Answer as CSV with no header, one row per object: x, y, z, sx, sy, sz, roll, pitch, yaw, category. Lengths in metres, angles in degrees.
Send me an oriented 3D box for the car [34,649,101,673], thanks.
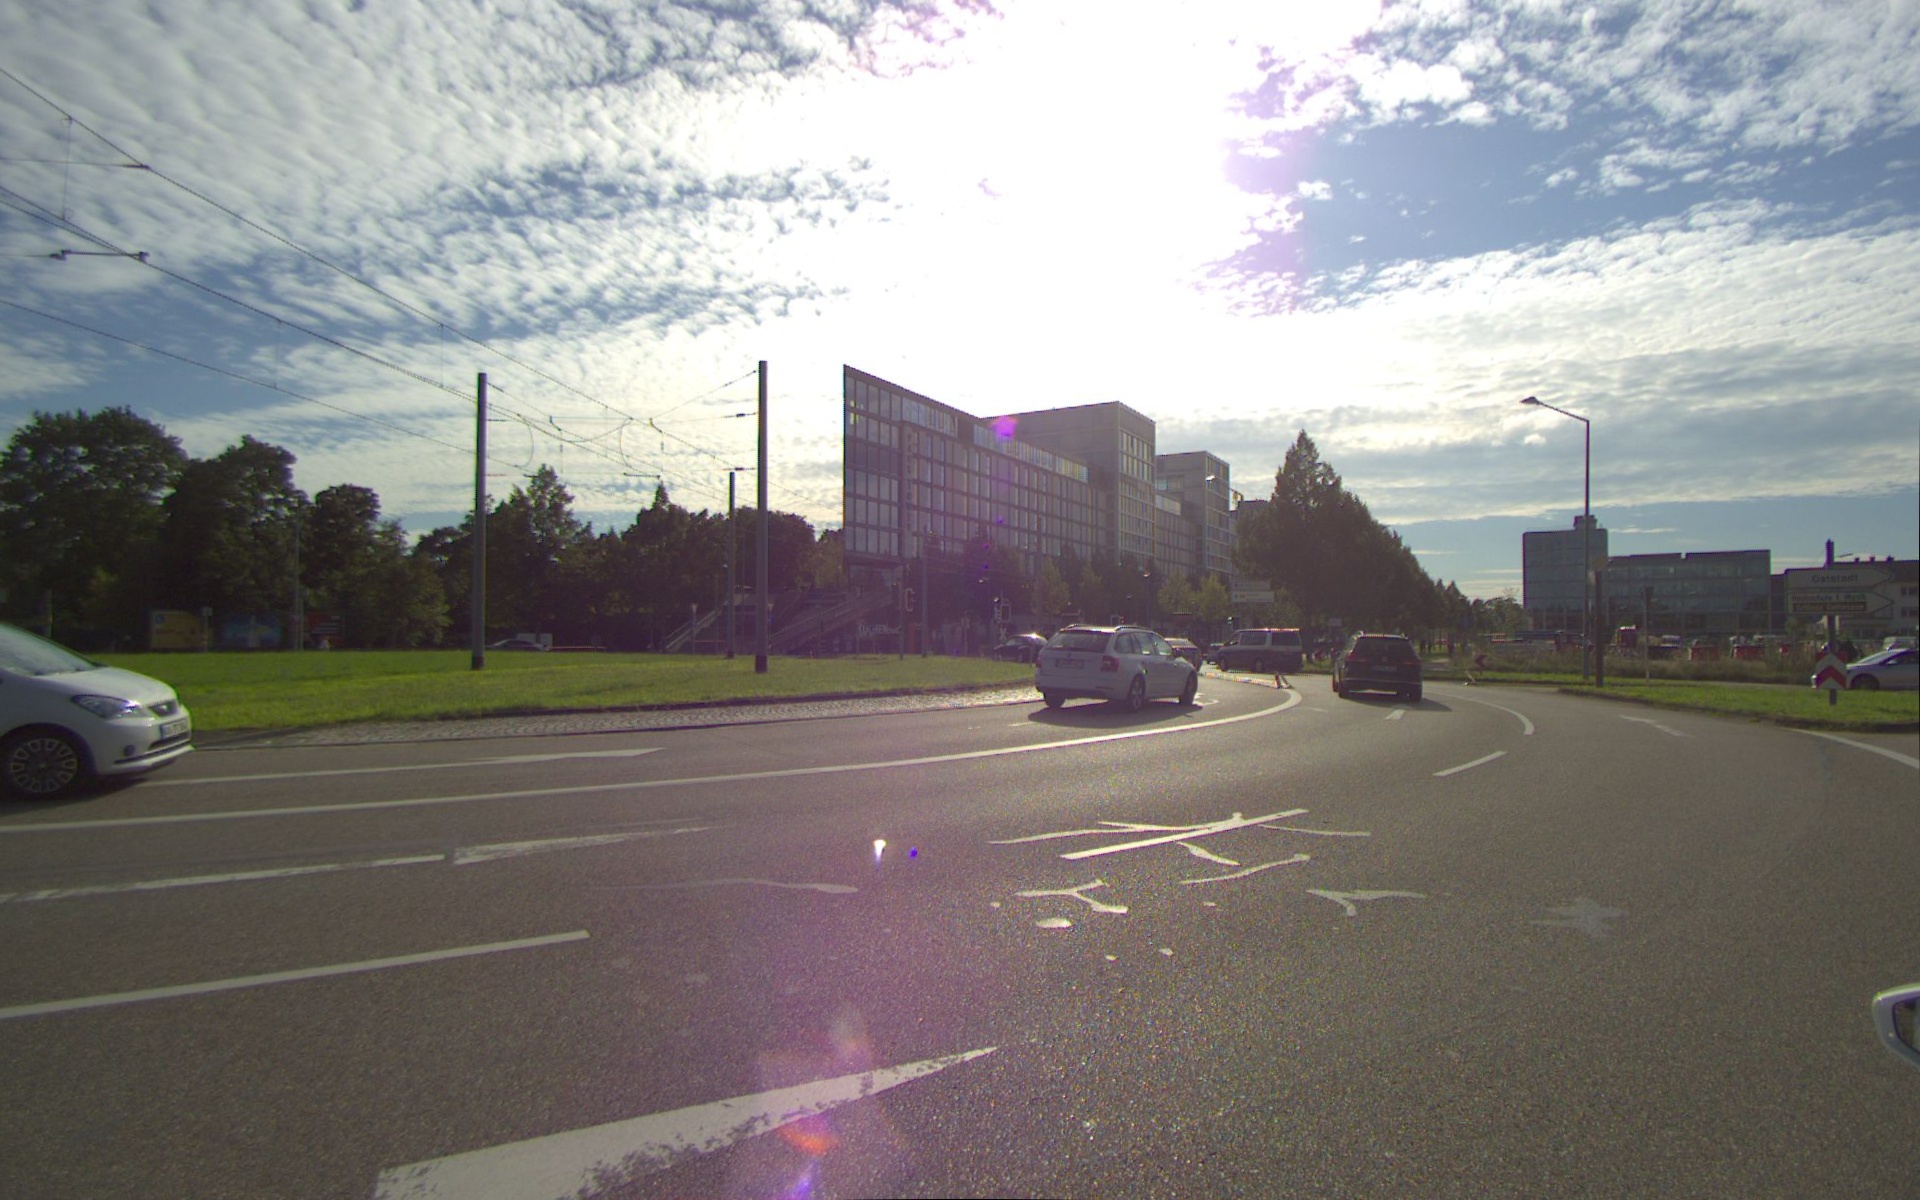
-57.730,3.925,64.967,3.917,1.521,1.685,-1,-3,22,car

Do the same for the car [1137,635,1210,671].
9.553,2.363,45.349,1.866,1.450,4.656,1,-1,-6,car

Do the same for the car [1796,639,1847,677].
44.000,2.950,51.261,1.859,1.839,3.978,-1,-3,42,car

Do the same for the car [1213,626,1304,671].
13.737,2.192,46.455,1.871,1.928,4.646,1,-1,-15,car

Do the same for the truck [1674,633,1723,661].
65.783,4.156,89.614,2.291,2.358,6.448,0,-2,25,truck

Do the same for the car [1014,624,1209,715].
2.966,1.186,18.754,1.825,1.464,4.626,0,-1,33,car

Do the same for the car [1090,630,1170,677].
6.290,1.957,37.666,1.741,1.593,4.061,1,-1,-9,car

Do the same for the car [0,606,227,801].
-8.470,0.799,8.201,3.602,1.483,1.760,1,-1,-18,car

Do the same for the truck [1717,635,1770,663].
68.819,4.269,88.342,2.291,2.358,6.448,0,-2,25,truck

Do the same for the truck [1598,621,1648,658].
60.570,3.622,91.916,2.764,3.249,7.311,0,-2,25,truck

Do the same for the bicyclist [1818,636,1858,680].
30.733,2.026,35.167,0.995,1.531,0.702,-2,-2,40,bicyclist

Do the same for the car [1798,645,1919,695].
29.189,2.176,31.219,4.452,1.471,1.824,0,-2,20,car

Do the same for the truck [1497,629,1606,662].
49.296,3.797,83.979,7.718,2.601,3.069,-1,-2,29,truck

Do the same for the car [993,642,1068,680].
3.289,2.833,47.361,1.971,1.561,3.978,1,0,-22,car

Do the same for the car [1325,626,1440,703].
10.043,1.527,24.212,1.960,1.587,4.848,2,-2,16,car

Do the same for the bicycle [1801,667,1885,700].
30.812,2.905,35.090,2.172,1.077,0.701,-2,-3,41,bicycle

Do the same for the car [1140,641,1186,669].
12.639,3.406,62.332,1.865,1.632,4.659,0,-2,23,car

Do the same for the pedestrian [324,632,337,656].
-43.184,3.014,68.883,0.496,1.646,0.548,0,-2,21,pedestrian

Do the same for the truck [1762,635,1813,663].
71.484,4.225,86.891,2.025,2.358,5.634,0,-2,25,truck
